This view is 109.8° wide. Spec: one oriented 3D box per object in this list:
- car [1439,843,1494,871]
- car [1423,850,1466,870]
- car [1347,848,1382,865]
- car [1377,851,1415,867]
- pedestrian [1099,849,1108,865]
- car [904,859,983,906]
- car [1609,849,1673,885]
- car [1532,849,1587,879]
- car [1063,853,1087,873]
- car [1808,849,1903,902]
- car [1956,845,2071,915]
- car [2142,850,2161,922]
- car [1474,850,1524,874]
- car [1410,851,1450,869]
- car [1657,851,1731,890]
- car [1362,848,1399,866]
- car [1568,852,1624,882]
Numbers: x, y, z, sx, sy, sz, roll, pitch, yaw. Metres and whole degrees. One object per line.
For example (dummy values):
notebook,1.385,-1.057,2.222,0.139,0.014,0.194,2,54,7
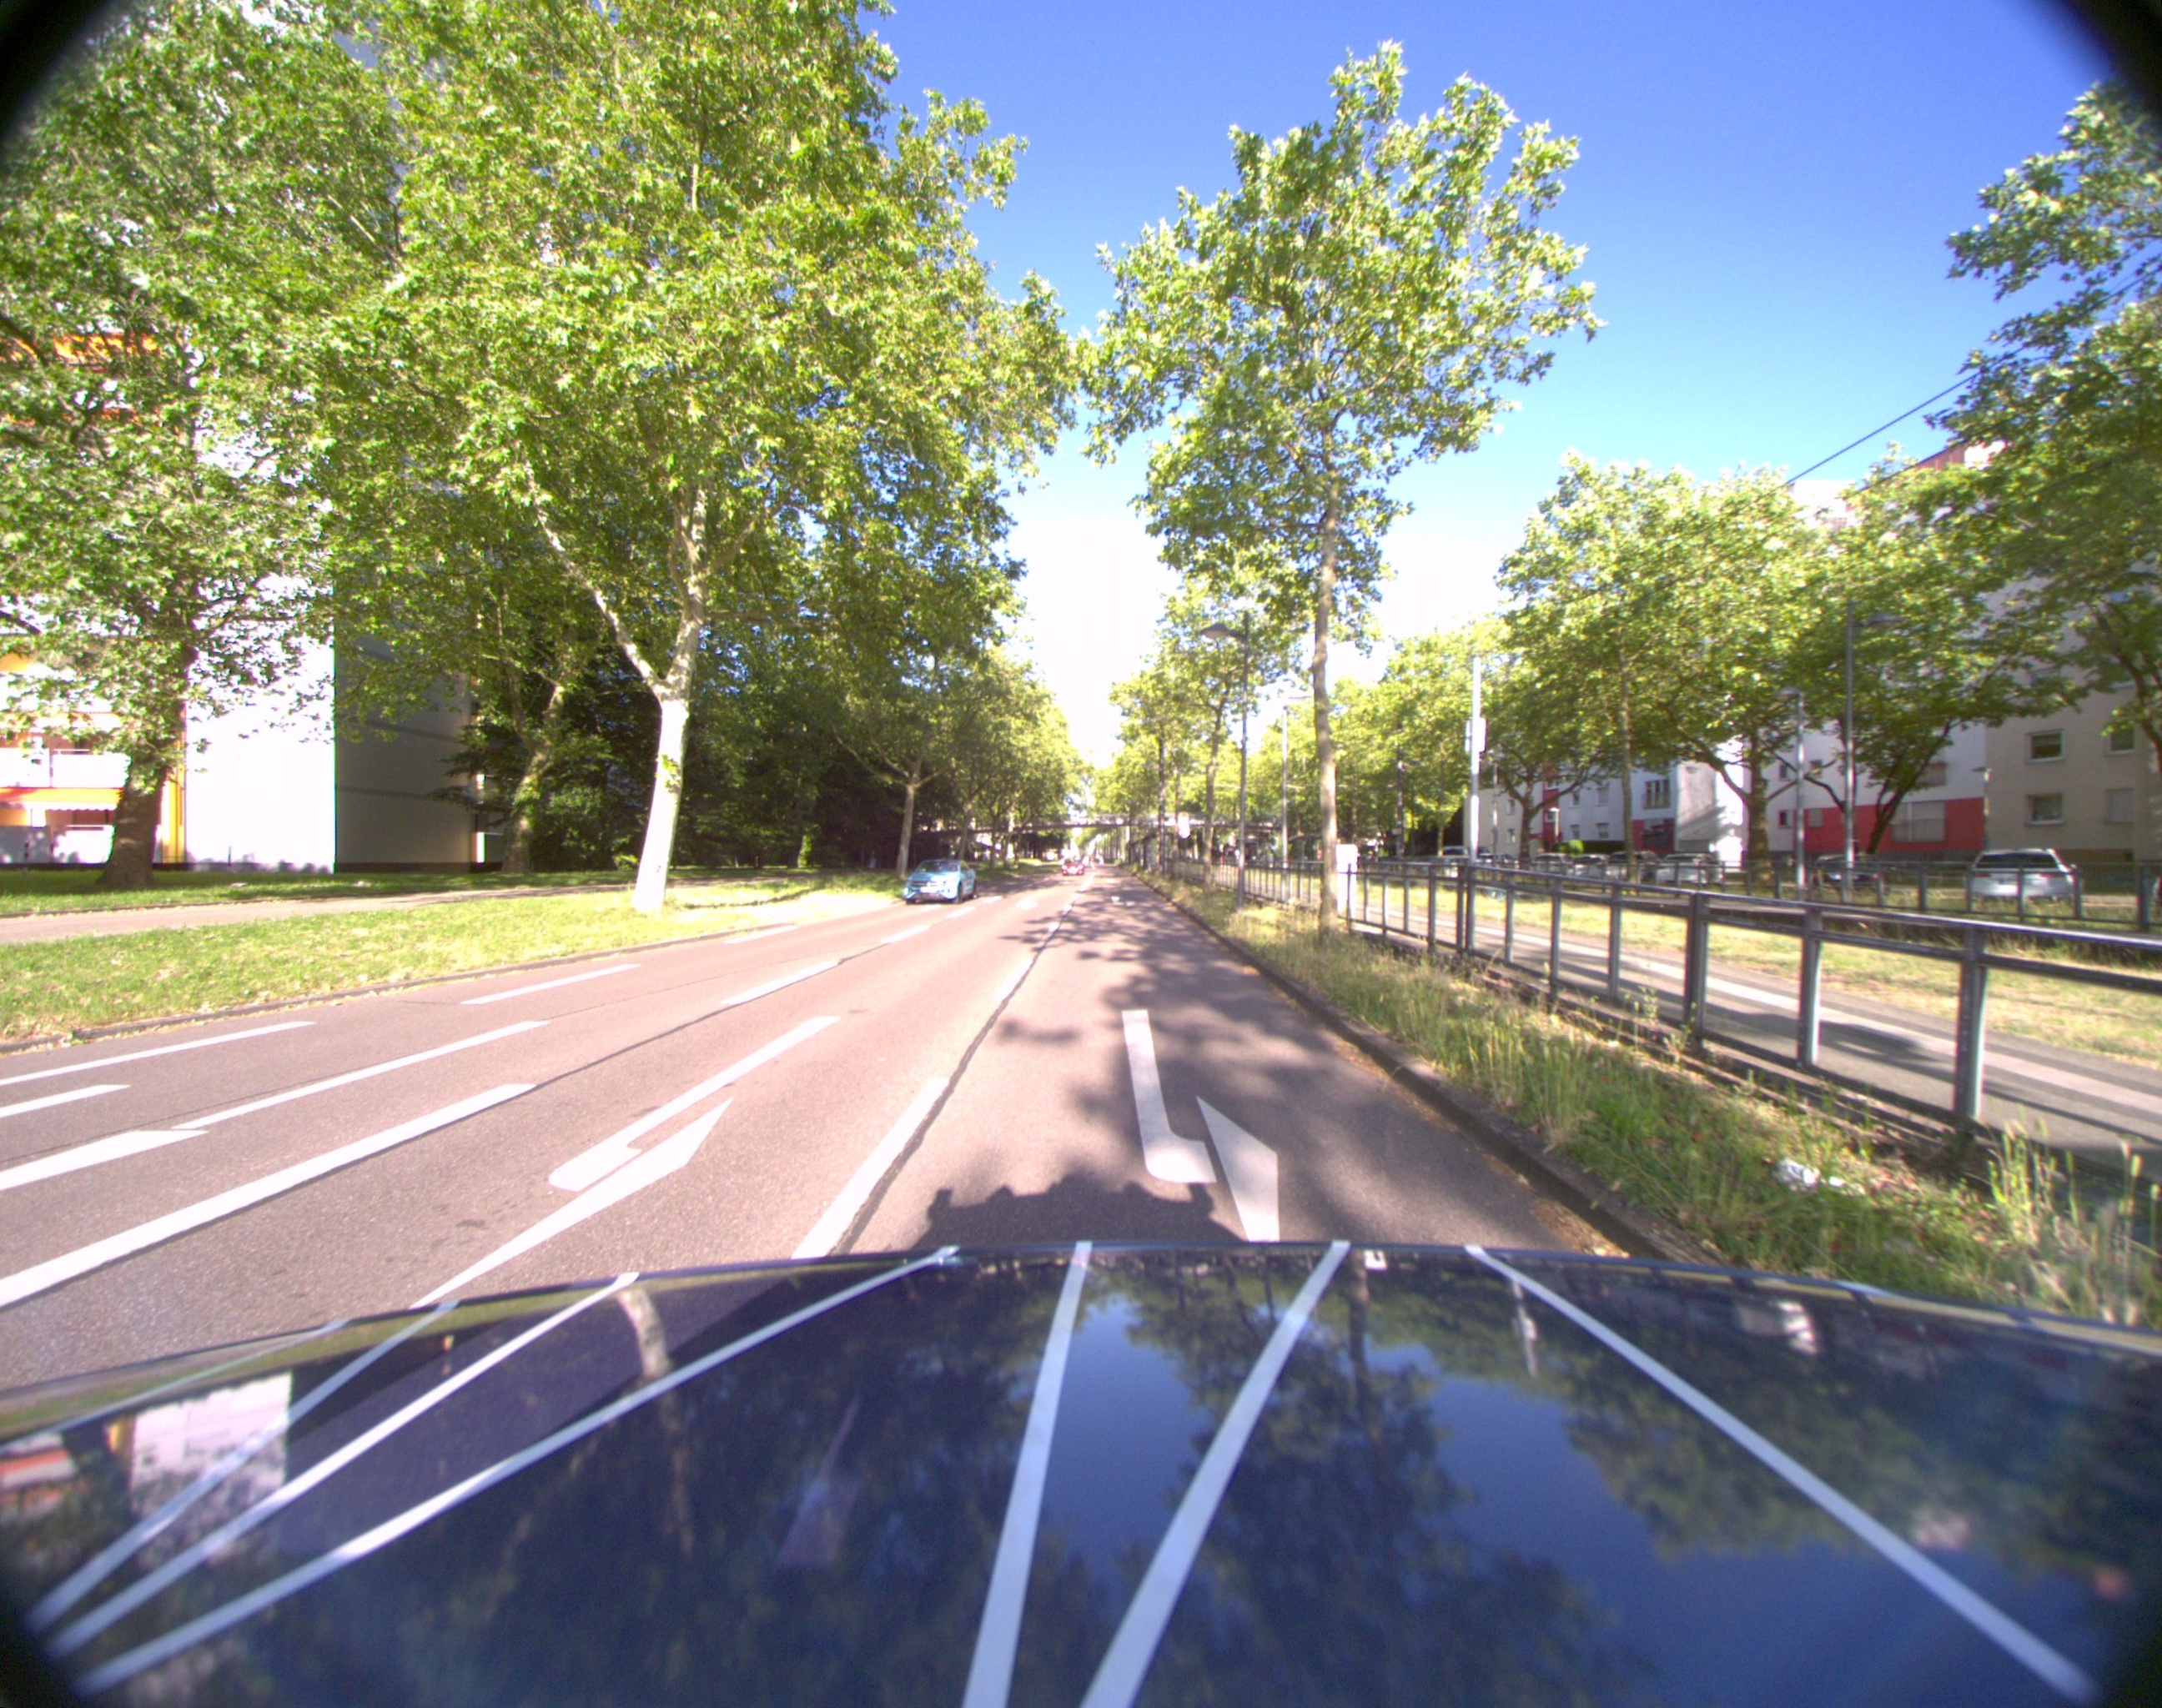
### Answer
car,25.839,0.195,50.836,4.056,1.802,1.864,-1,1,-41
car,25.860,0.412,54.066,3.494,1.336,1.475,-1,1,-41
car,27.431,0.230,73.499,3.742,1.517,1.597,-1,1,-43
car,26.417,0.407,63.663,3.494,1.312,1.475,-1,1,-41
pedestrian,2.845,0.333,96.347,0.919,2.002,0.962,-2,1,-1
car,-4.651,0.924,26.260,1.738,1.442,4.132,-1,0,3
car,25.903,0.568,35.101,3.402,1.499,1.461,-3,1,-37
car,26.013,0.534,41.271,3.494,1.417,1.558,-3,-1,-42
car,-0.419,0.680,58.799,1.646,1.430,3.761,-2,1,3
car,25.059,0.645,24.544,4.007,1.479,1.626,-3,1,-37
car,25.250,0.638,20.539,4.007,1.586,1.810,-3,1,-37
car,25.059,0.673,16.925,3.770,1.420,1.555,-3,1,-37
car,26.202,0.472,47.575,3.494,1.395,1.623,-1,1,-41
car,26.438,0.410,57.552,3.494,1.293,1.475,-1,1,-41
car,25.615,0.664,31.711,3.890,1.406,1.486,-3,1,-37
car,26.415,0.249,66.949,3.835,1.561,1.597,-1,1,-43
car,26.145,0.643,38.541,3.493,1.321,1.476,-3,0,-41
